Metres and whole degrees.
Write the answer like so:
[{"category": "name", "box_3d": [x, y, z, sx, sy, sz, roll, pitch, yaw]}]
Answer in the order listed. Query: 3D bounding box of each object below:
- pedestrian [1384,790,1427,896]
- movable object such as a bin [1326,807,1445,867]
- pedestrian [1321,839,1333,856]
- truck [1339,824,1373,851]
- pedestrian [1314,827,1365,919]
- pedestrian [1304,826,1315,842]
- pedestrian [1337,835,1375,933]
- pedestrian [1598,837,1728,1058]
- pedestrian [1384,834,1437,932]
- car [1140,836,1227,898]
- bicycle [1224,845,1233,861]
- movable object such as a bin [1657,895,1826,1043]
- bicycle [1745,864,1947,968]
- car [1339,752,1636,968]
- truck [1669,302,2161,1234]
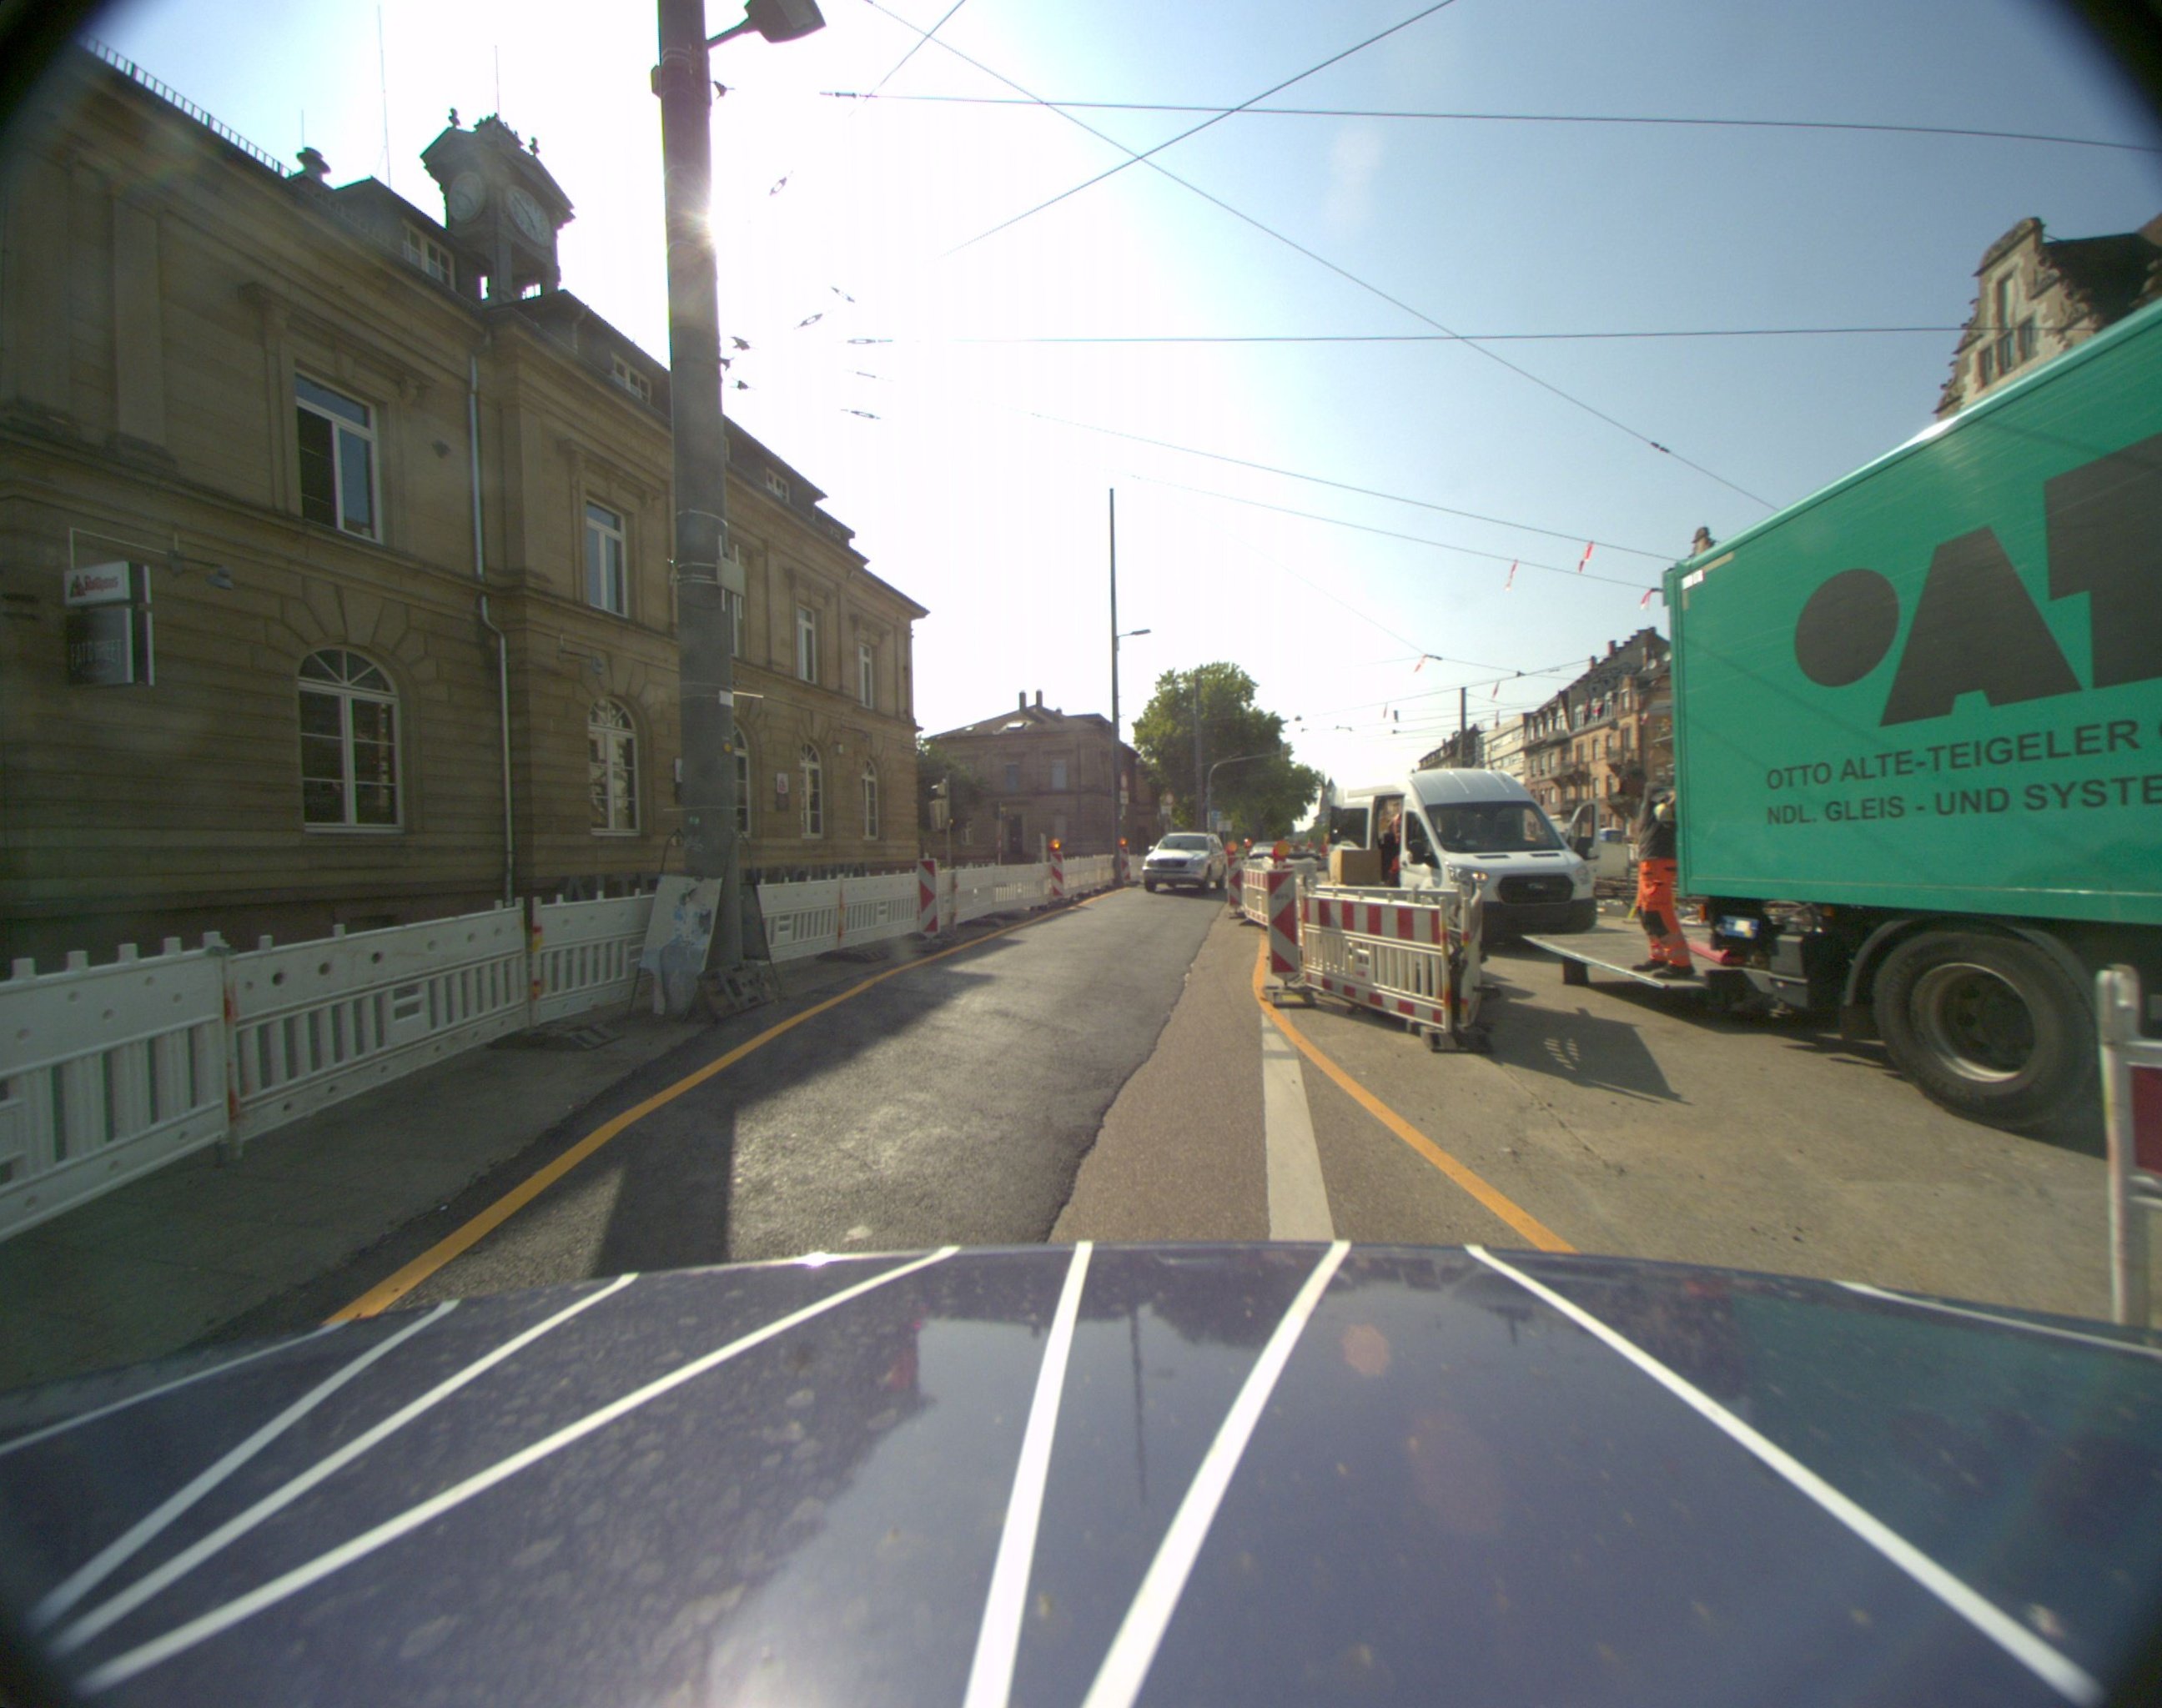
[{"category": "pedestrian", "box_3d": [6.302, -0.213, 14.787, 0.734, 2.002, 0.908, 0, 2, 20]}, {"category": "movable object such as a bin", "box_3d": [17.851, -0.997, 44.742, 6.161, 3.327, 2.115, -2, 1, -5]}, {"category": "pedestrian", "box_3d": [24.075, -0.629, 74.435, 1.033, 1.701, 1.096, -1, 1, 13]}, {"category": "truck", "box_3d": [24.361, -1.509, 67.467, 2.161, 2.209, 7.056, 0, 2, 15]}, {"category": "pedestrian", "box_3d": [5.836, 0.407, 17.117, 0.909, 2.002, 0.734, -2, 2, -42]}, {"category": "pedestrian", "box_3d": [28.486, -2.494, 94.794, 0.909, 2.002, 0.913, -2, 2, 41]}, {"category": "pedestrian", "box_3d": [5.818, 0.604, 16.072, 0.734, 2.002, 0.908, 0, 2, 21]}, {"category": "pedestrian", "box_3d": [4.839, 0.714, 6.323, 0.767, 1.684, 0.705, -2, 2, -39]}, {"category": "pedestrian", "box_3d": [6.992, 0.587, 16.111, 0.909, 2.002, 0.734, -2, 2, -44]}, {"category": "car", "box_3d": [3.288, 0.306, 23.295, 1.996, 1.686, 5.230, 0, 1, 15]}, {"category": "bicycle", "box_3d": [9.586, -0.071, 49.353, 0.410, 0.981, 1.377, -1, 1, 17]}, {"category": "movable object such as a bin", "box_3d": [5.954, 0.976, 6.950, 0.644, 1.086, 1.483, -1, 1, 18]}, {"category": "bicycle", "box_3d": [9.378, 0.705, 9.384, 0.618, 1.130, 1.658, -2, 2, -33]}, {"category": "car", "box_3d": [6.049, 0.042, 12.246, 2.230, 2.714, 5.170, -1, 1, 3]}, {"category": "truck", "box_3d": [5.455, -0.331, 1.636, 2.679, 3.657, 8.216, -1, 1, 6]}]
